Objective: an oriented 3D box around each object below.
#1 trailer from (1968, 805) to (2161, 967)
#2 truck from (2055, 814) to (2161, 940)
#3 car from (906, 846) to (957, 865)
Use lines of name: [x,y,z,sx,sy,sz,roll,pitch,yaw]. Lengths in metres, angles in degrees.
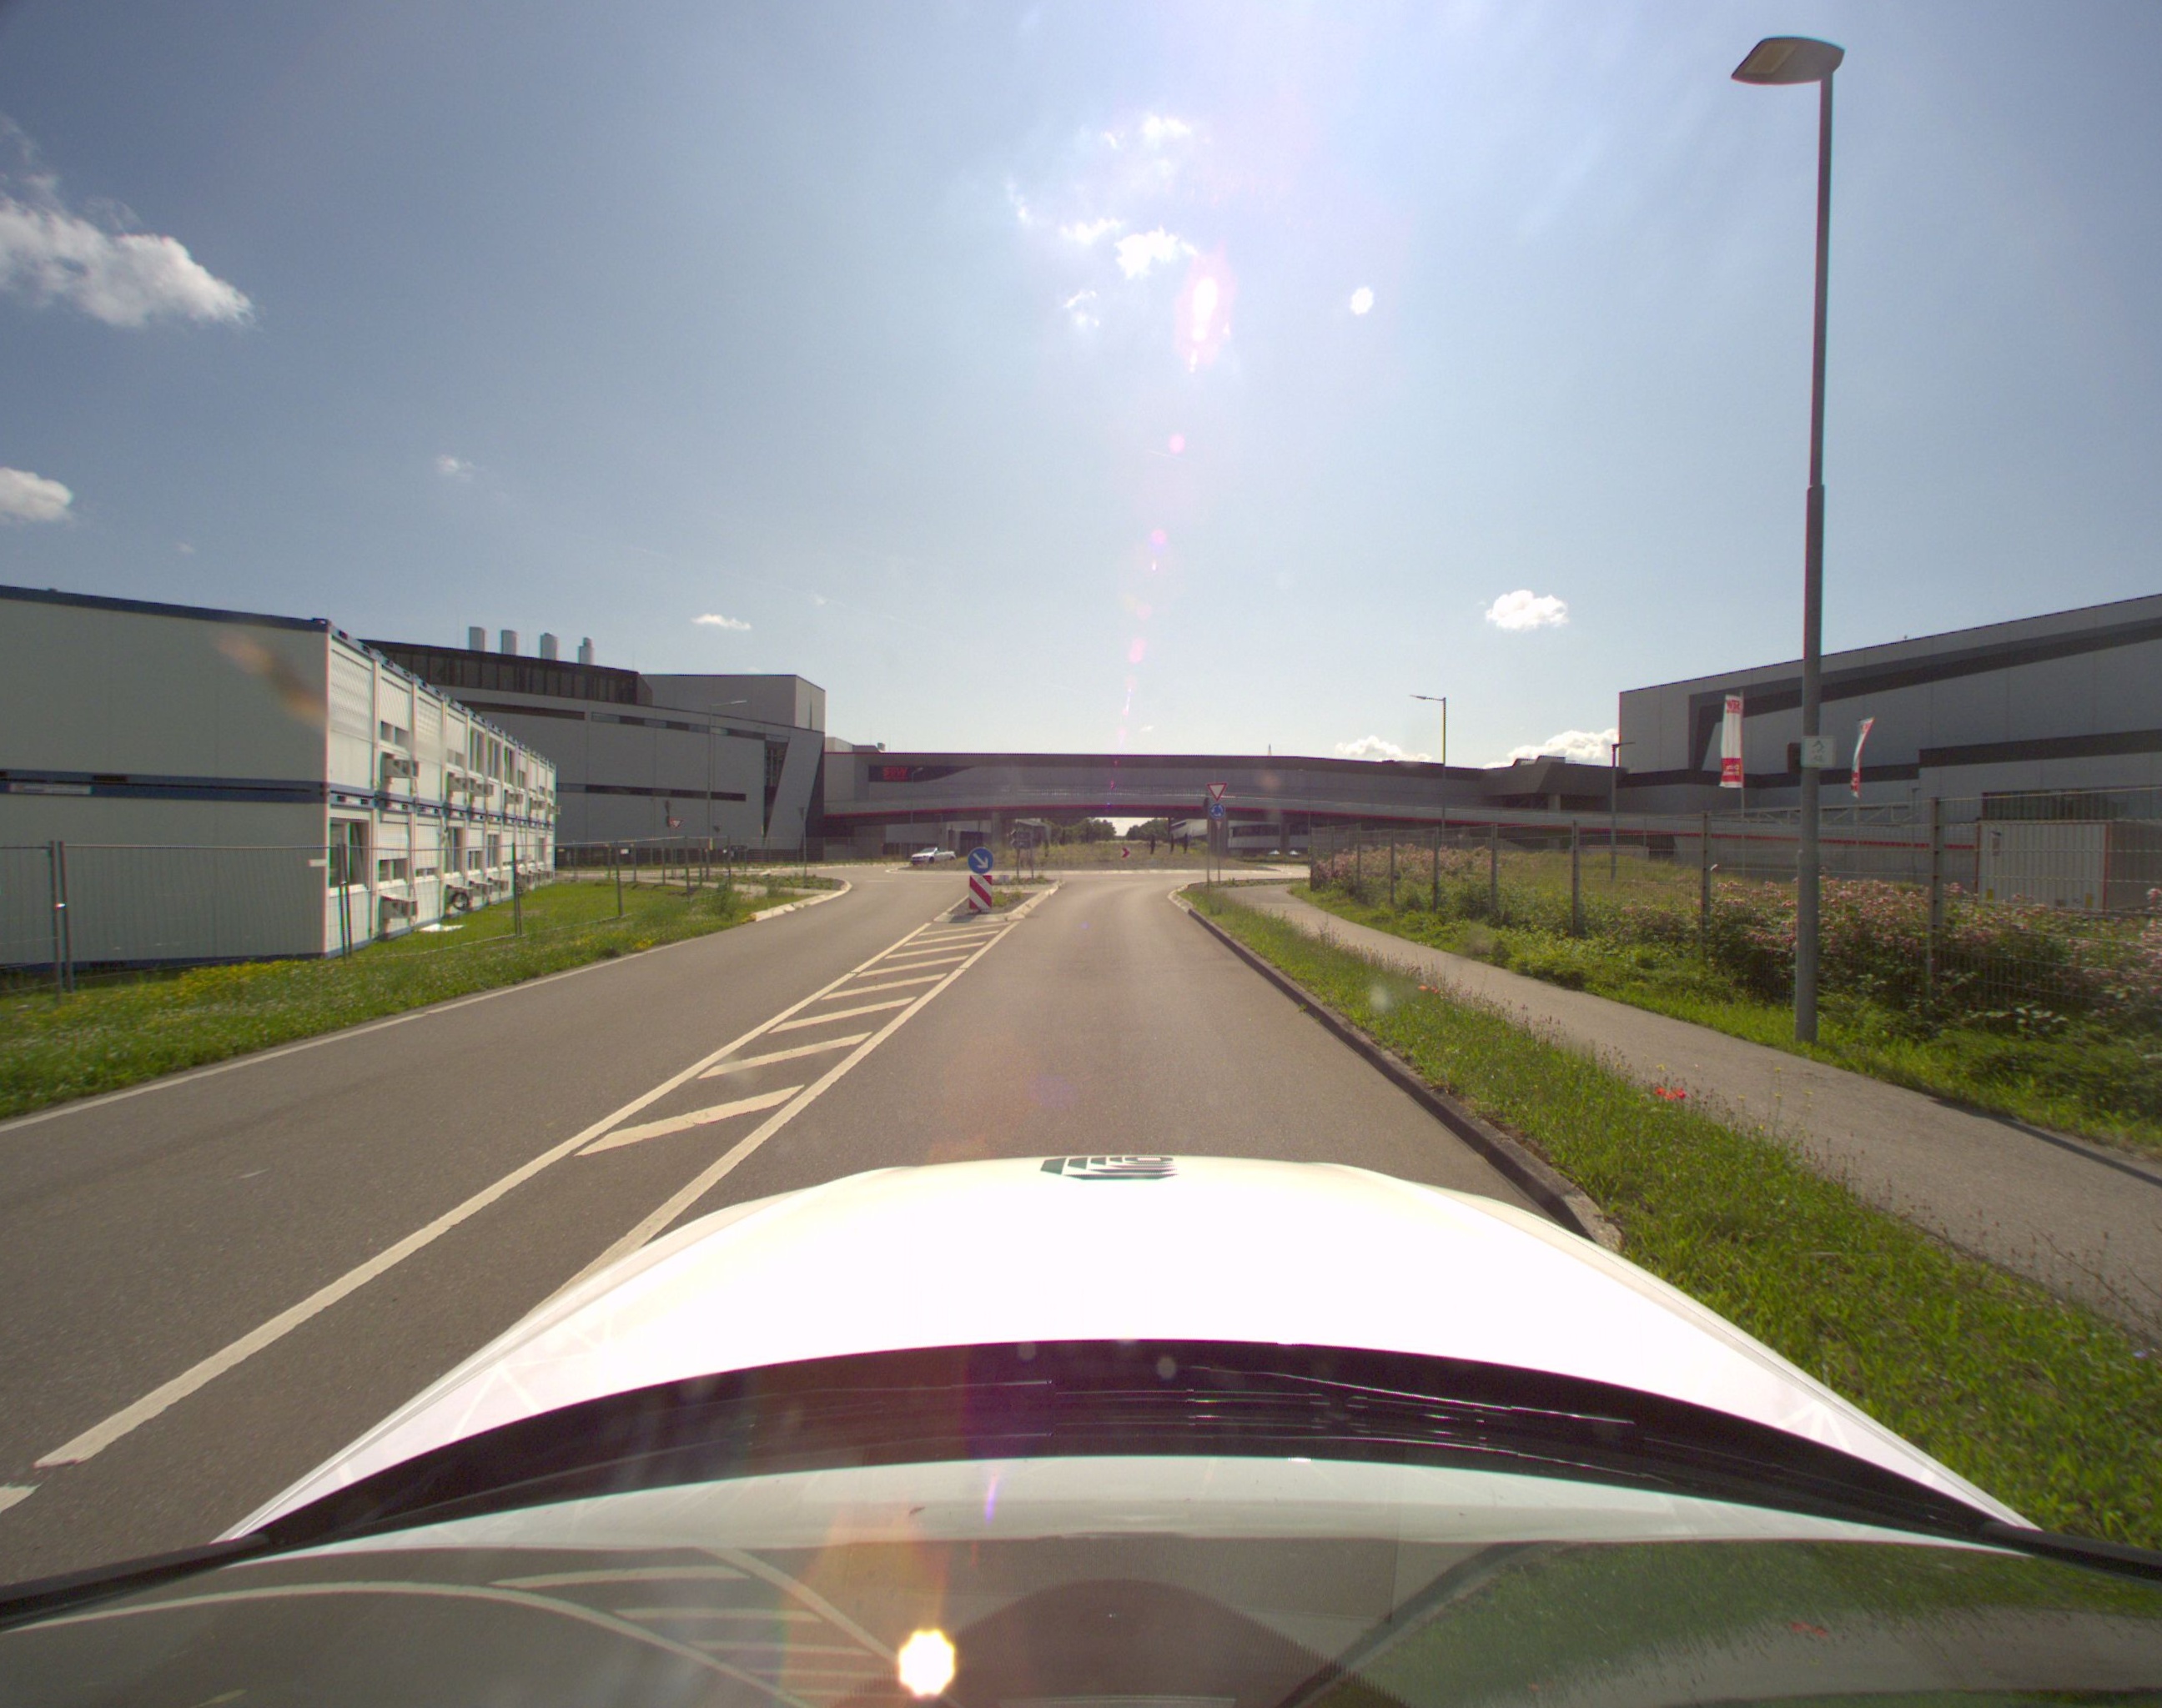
trailer: [33.542,0.843,27.102,14.109,4.438,2.739,0,-1,-31]
truck: [39.575,0.804,30.786,5.308,4.423,2.739,0,-1,-31]
car: [-11.636,0.126,63.761,1.753,1.428,4.077,-1,0,28]
